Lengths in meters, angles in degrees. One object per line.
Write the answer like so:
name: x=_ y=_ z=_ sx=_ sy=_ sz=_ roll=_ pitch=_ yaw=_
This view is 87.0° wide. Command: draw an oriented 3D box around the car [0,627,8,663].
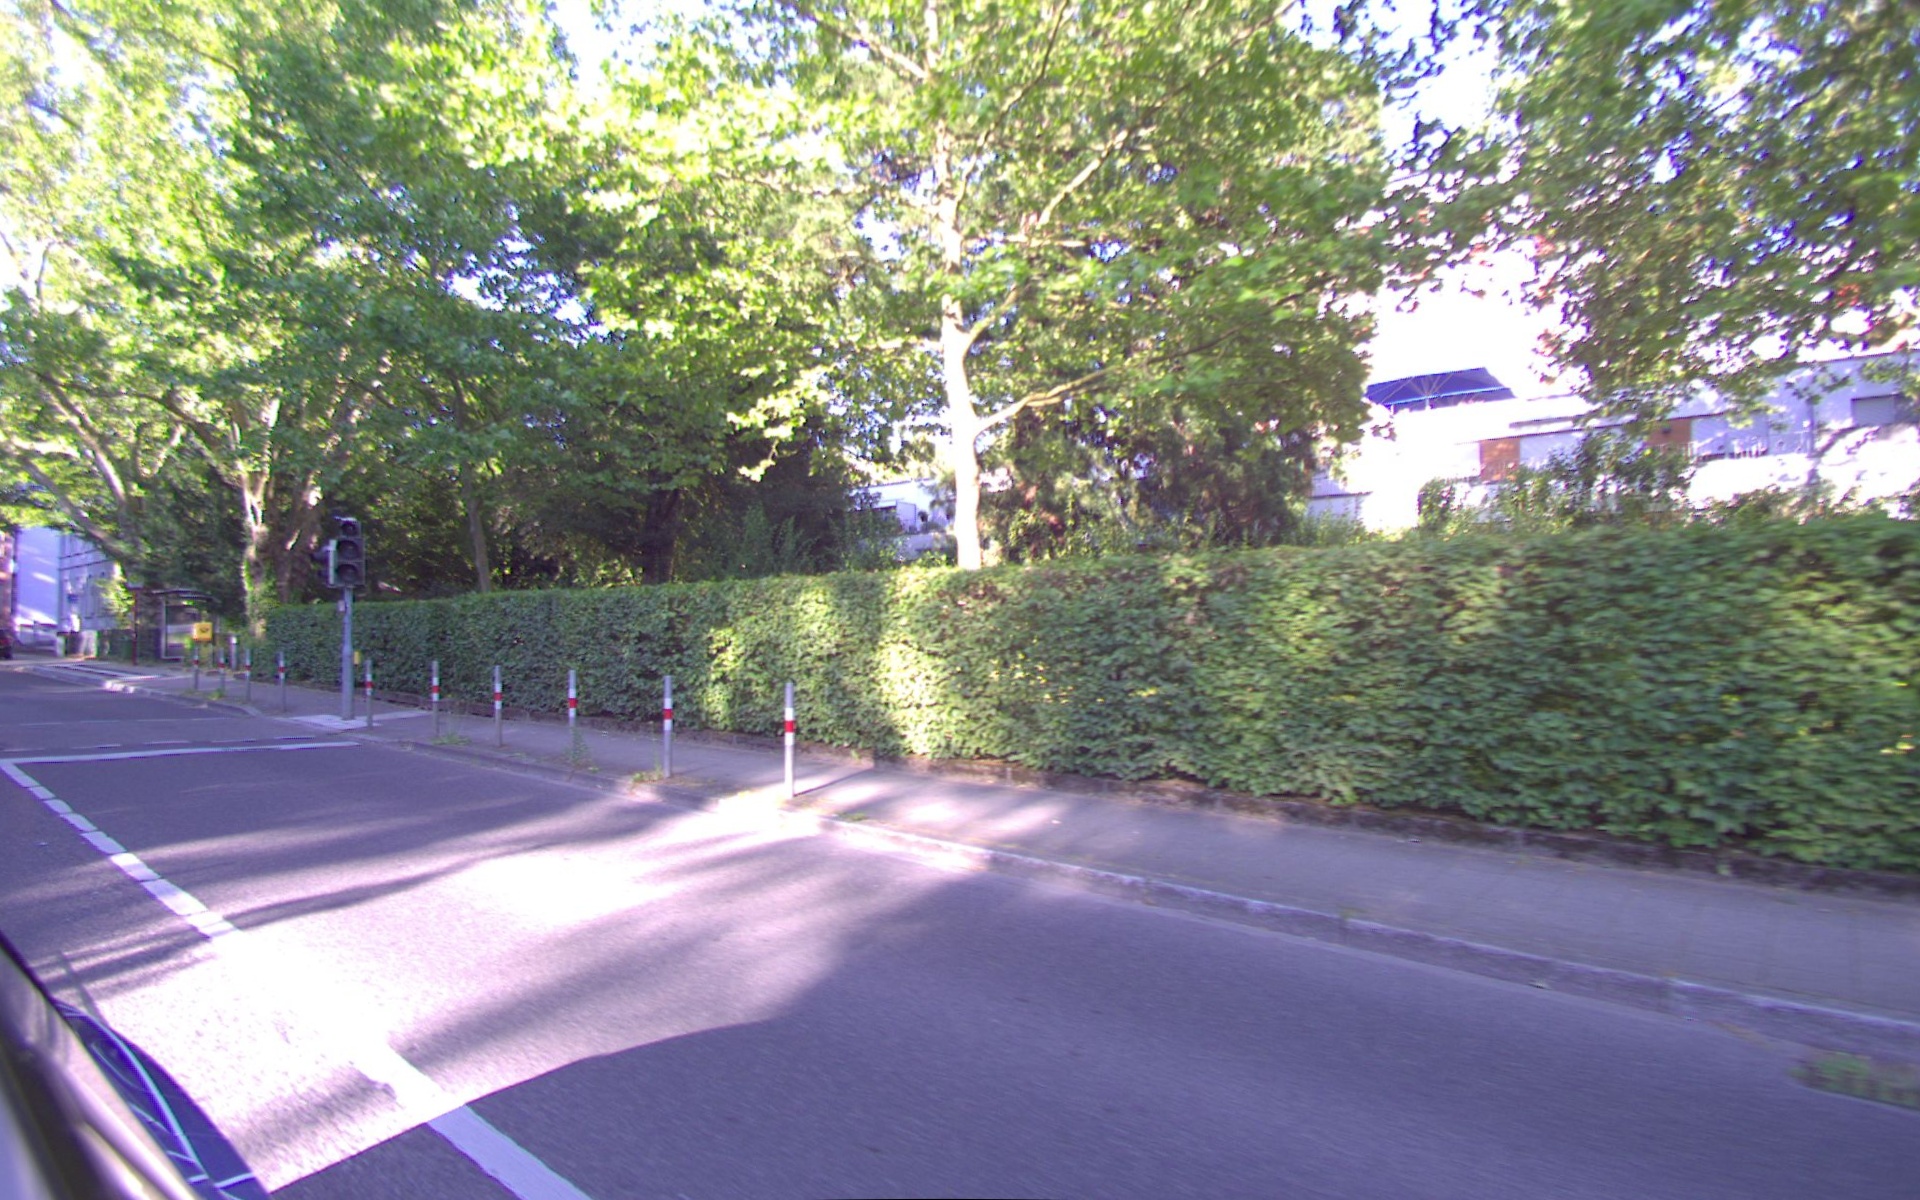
car: x=-40.554 y=1.886 z=41.529 sx=3.612 sy=1.445 sz=1.669 roll=-2 pitch=1 yaw=40
